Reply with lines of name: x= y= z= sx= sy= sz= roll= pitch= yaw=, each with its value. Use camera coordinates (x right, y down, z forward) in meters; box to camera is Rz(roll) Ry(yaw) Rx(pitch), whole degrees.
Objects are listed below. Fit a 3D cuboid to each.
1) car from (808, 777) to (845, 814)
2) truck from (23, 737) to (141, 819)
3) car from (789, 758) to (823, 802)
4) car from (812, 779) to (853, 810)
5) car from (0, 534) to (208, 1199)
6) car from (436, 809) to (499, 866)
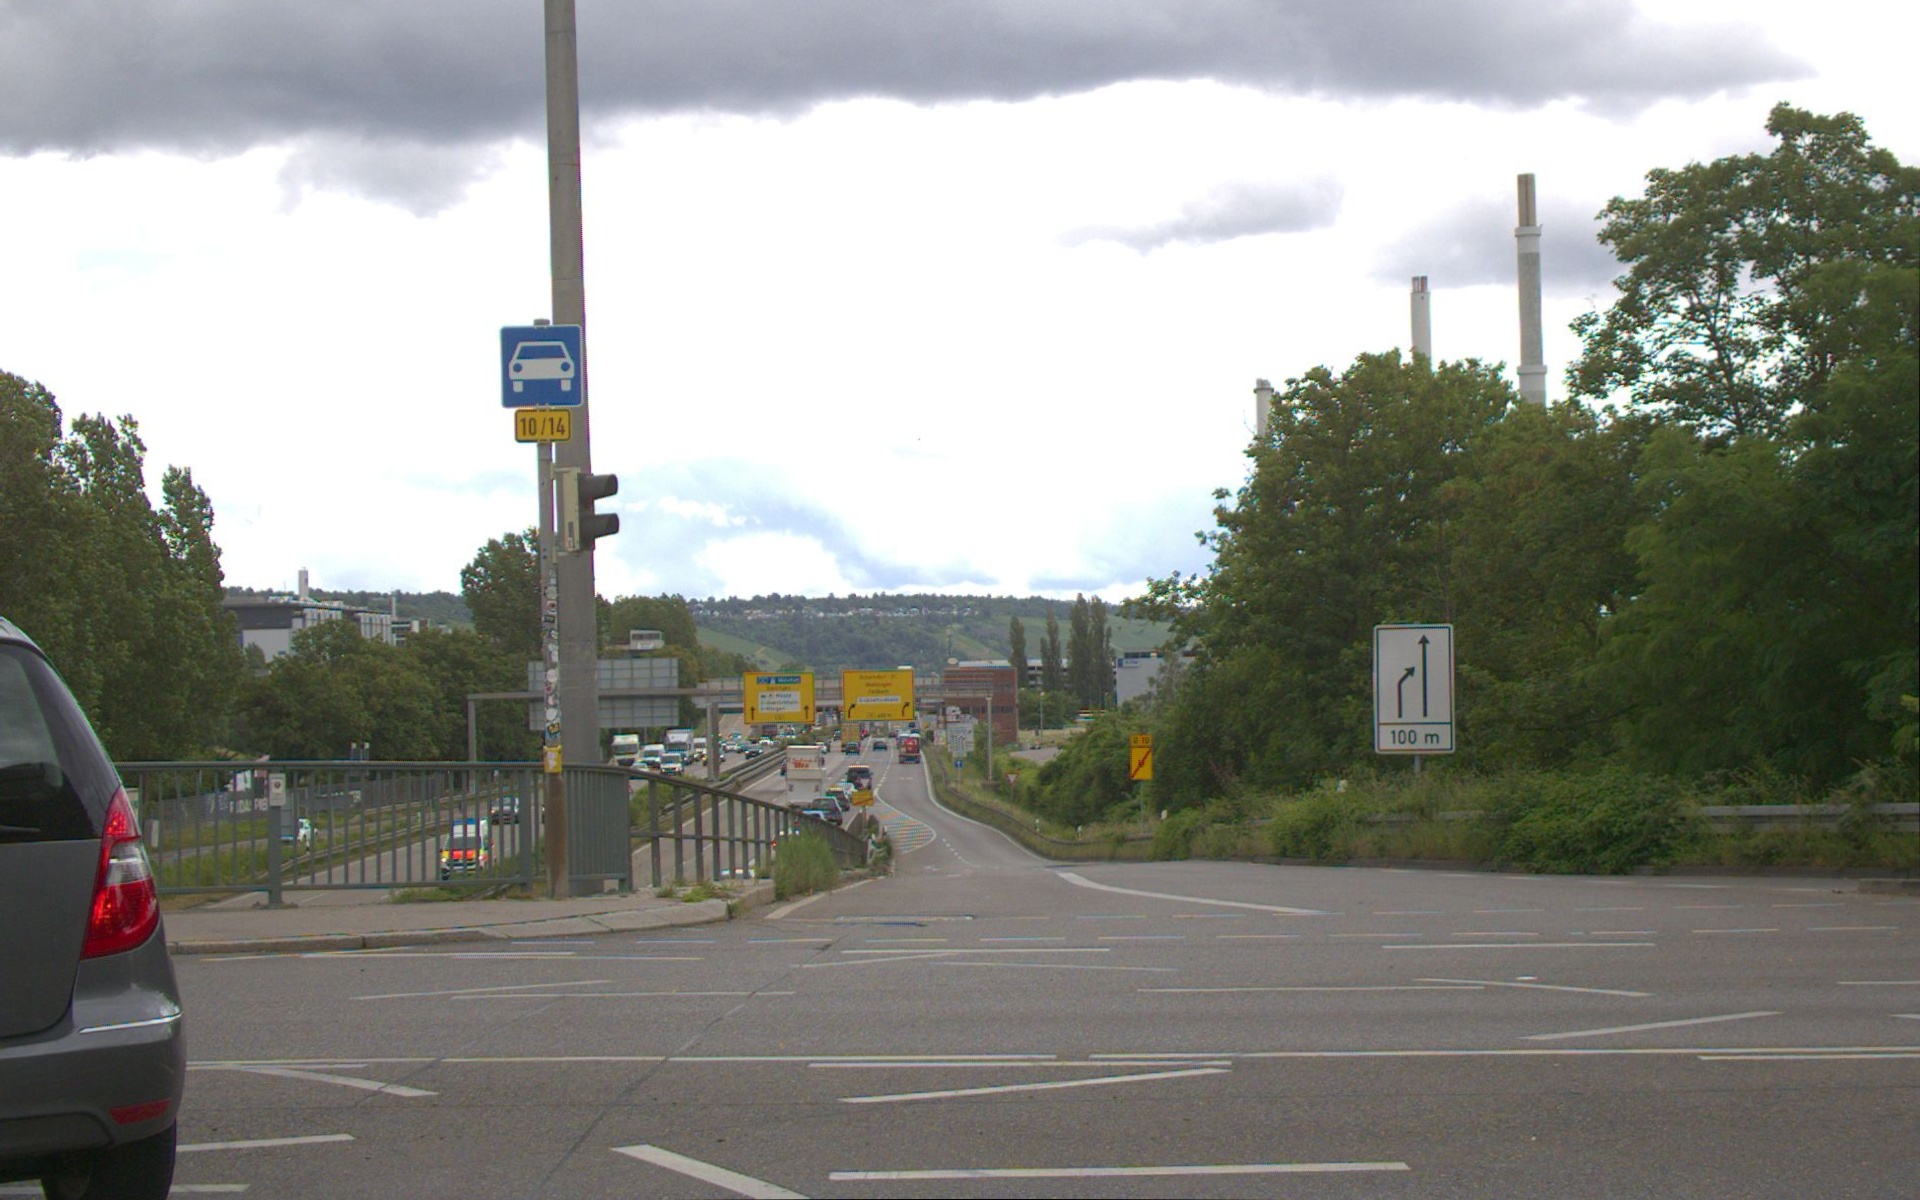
car: x=-7.652 y=11.239 z=197.169 sx=1.993 sy=2.007 sz=3.999 roll=-2 pitch=-4 yaw=-3
truck: x=-39.988 y=8.069 z=156.933 sx=2.773 sy=3.498 sz=9.257 roll=-1 pitch=-2 yaw=2
car: x=-9.531 y=11.160 z=212.984 sx=1.993 sy=2.614 sz=5.398 roll=-2 pitch=-4 yaw=-3
car: x=-8.348 y=12.712 z=224.573 sx=2.531 sy=1.895 sz=4.881 roll=-2 pitch=-4 yaw=-3
car: x=-3.391 y=0.712 z=8.820 sx=1.745 sy=1.545 sz=3.871 roll=1 pitch=-3 yaw=-30
car: x=-21.399 y=10.314 z=149.404 sx=1.993 sy=2.363 sz=4.589 roll=-2 pitch=-4 yaw=0
